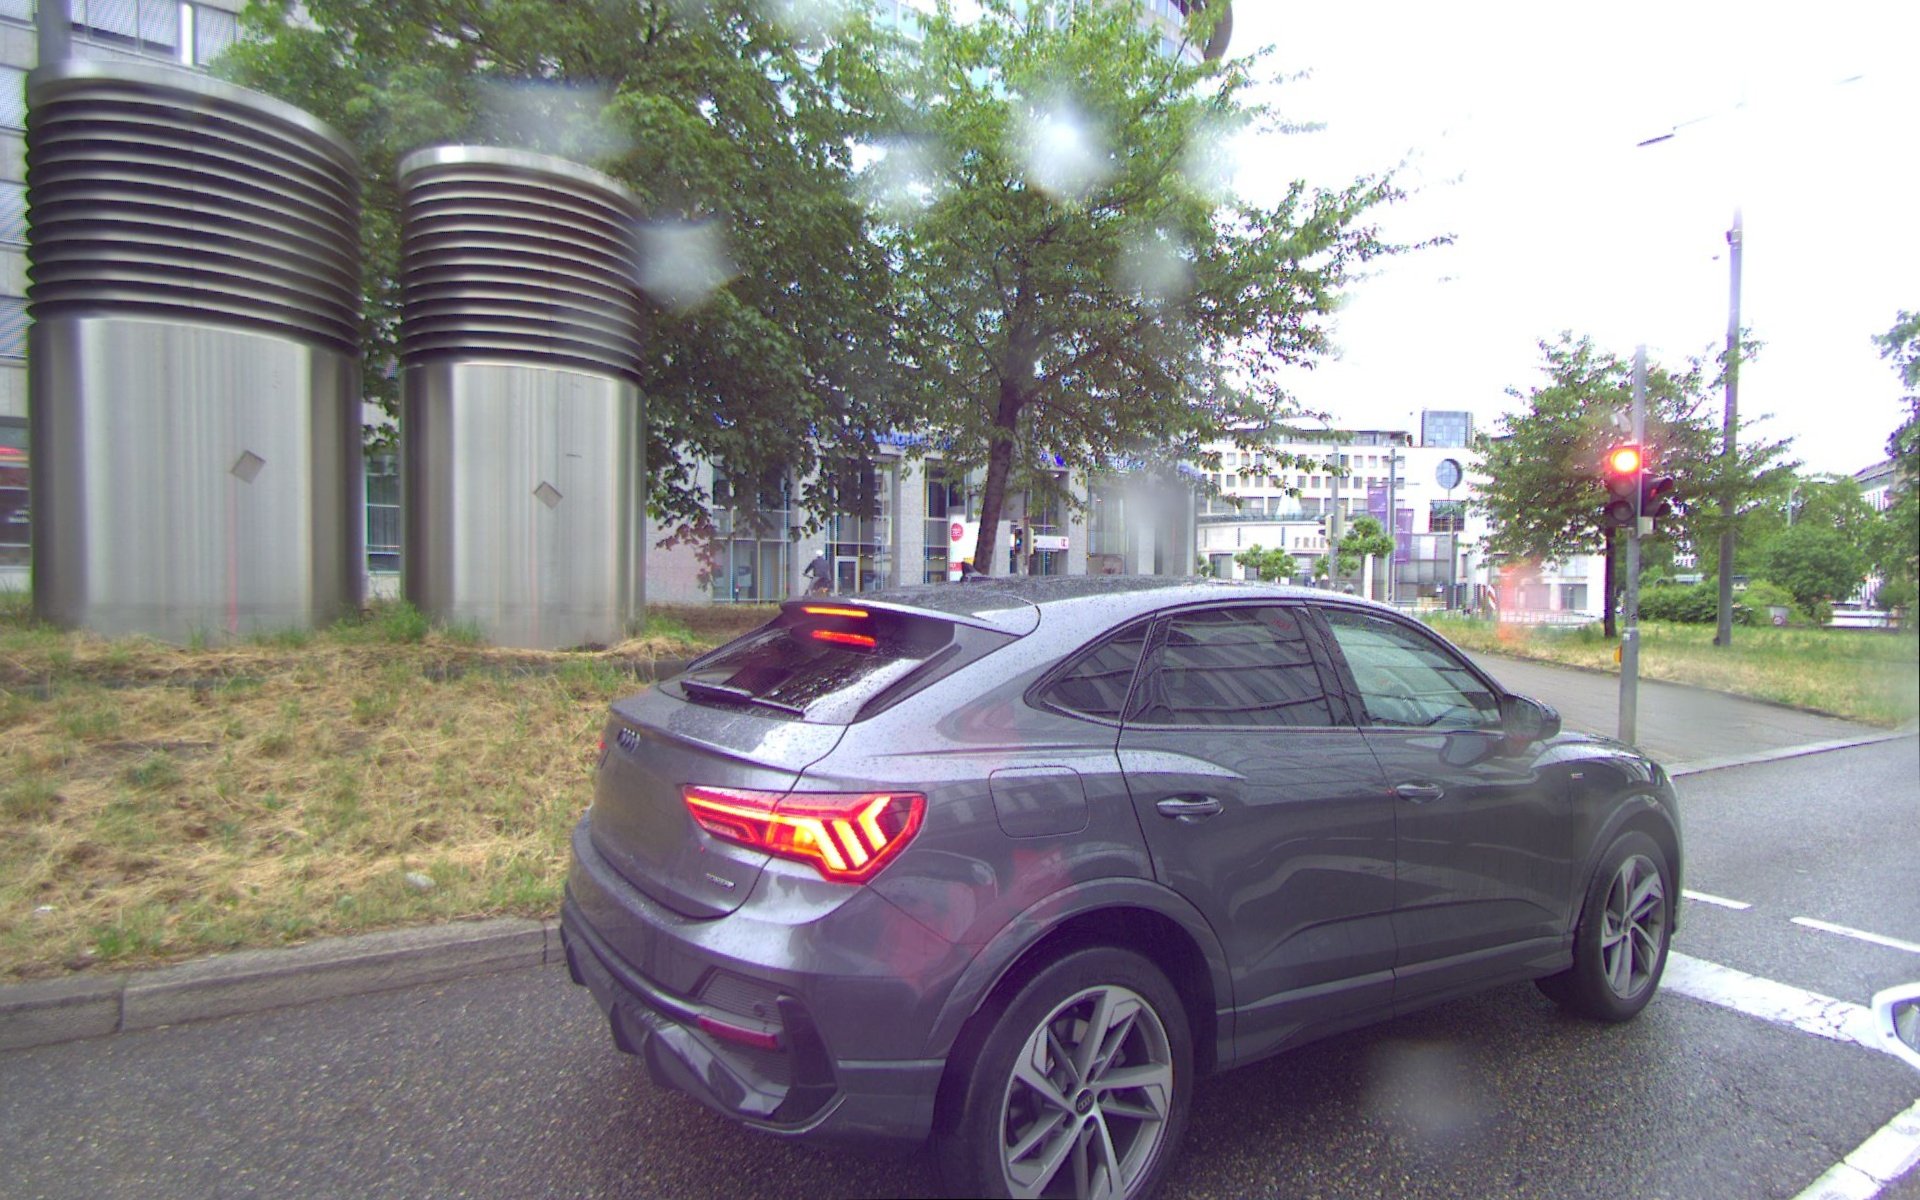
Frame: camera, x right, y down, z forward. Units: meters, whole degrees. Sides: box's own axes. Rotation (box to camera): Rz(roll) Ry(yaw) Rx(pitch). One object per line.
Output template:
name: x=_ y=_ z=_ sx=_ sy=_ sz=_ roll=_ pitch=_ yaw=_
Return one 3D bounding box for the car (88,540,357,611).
car: x=-15.519 y=-0.478 z=21.371 sx=4.435 sy=1.343 sz=1.878 roll=1 pitch=1 yaw=-37

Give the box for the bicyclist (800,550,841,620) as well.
bicyclist: x=-4.330 y=-0.487 z=31.187 sx=0.757 sy=2.111 sz=1.071 roll=-1 pitch=5 yaw=-42

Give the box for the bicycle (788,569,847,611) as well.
bicycle: x=-4.464 y=-0.332 z=31.343 sx=0.757 sy=1.161 sz=2.106 roll=-1 pitch=5 yaw=-42

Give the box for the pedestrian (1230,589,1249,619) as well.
pedestrian: x=14.360 y=0.200 z=51.643 sx=0.719 sy=1.536 sz=0.688 roll=-1 pitch=-2 yaw=41

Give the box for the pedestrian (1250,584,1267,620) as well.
pedestrian: x=15.128 y=0.096 z=50.895 sx=0.612 sy=1.786 sz=0.723 roll=-1 pitch=-2 yaw=38

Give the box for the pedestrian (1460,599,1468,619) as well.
pedestrian: x=46.180 y=0.816 z=92.085 sx=0.566 sy=1.722 sz=0.594 roll=4 pitch=2 yaw=30

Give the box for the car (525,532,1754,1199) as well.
car: x=0.854 y=0.692 z=3.600 sx=4.206 sy=1.638 sz=1.837 roll=0 pitch=2 yaw=-33
